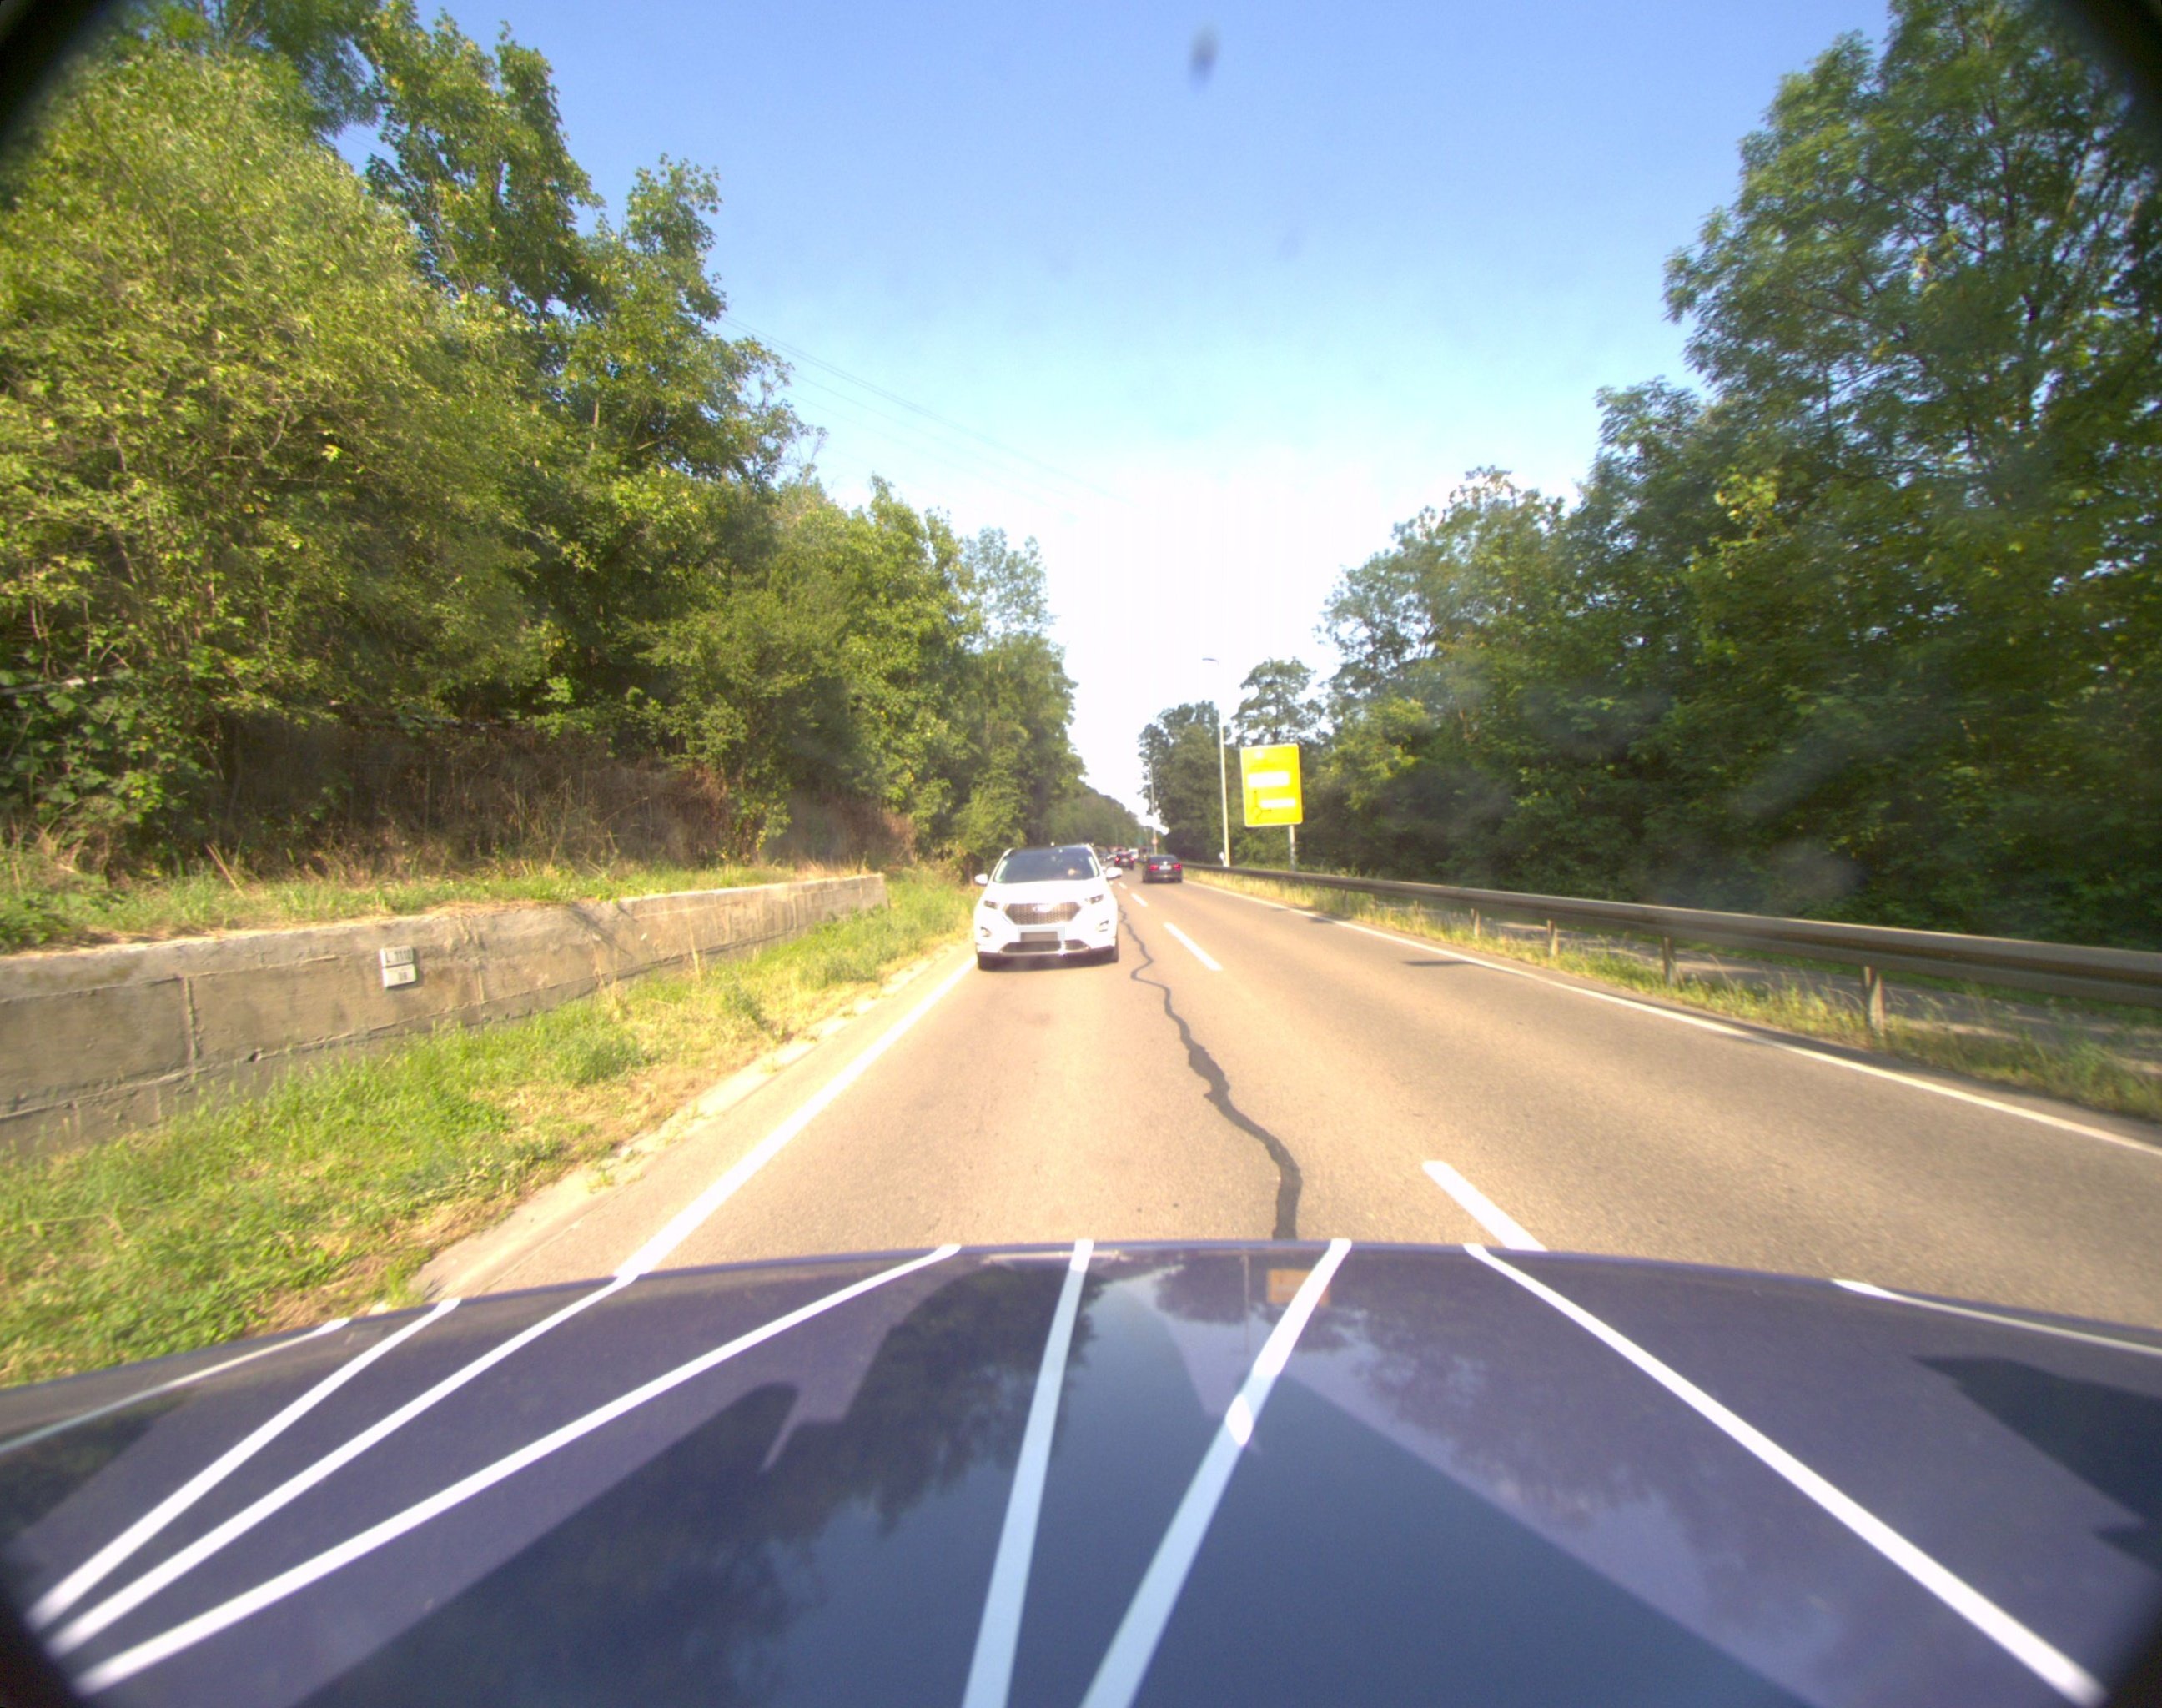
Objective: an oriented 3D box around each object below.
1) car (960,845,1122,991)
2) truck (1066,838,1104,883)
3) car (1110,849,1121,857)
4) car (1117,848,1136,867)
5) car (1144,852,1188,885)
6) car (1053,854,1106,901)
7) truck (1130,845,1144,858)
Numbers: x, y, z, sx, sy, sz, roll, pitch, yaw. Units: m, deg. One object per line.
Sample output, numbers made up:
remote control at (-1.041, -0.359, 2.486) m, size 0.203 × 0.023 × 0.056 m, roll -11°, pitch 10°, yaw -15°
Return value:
car at (-0.460, 0.783, 11.466) m, size 1.894 × 1.691 × 4.136 m, roll -4°, pitch 0°, yaw 1°
truck at (0.263, 0.350, 43.107) m, size 1.894 × 2.334 × 5.273 m, roll -3°, pitch 0°, yaw 1°
car at (7.942, -0.277, 175.254) m, size 1.997 × 1.647 × 4.002 m, roll -2°, pitch 0°, yaw 8°
car at (4.338, 0.338, 72.932) m, size 1.752 × 1.707 × 4.221 m, roll -2°, pitch 0°, yaw 2°
car at (4.049, 0.645, 36.660) m, size 1.696 × 1.412 × 4.142 m, roll -2°, pitch 0°, yaw 1°
car at (-0.003, 0.803, 27.478) m, size 1.704 × 1.477 × 4.136 m, roll -3°, pitch 0°, yaw 1°
truck at (11.260, -0.488, 153.026) m, size 2.061 × 2.371 × 5.876 m, roll -3°, pitch 1°, yaw 10°
